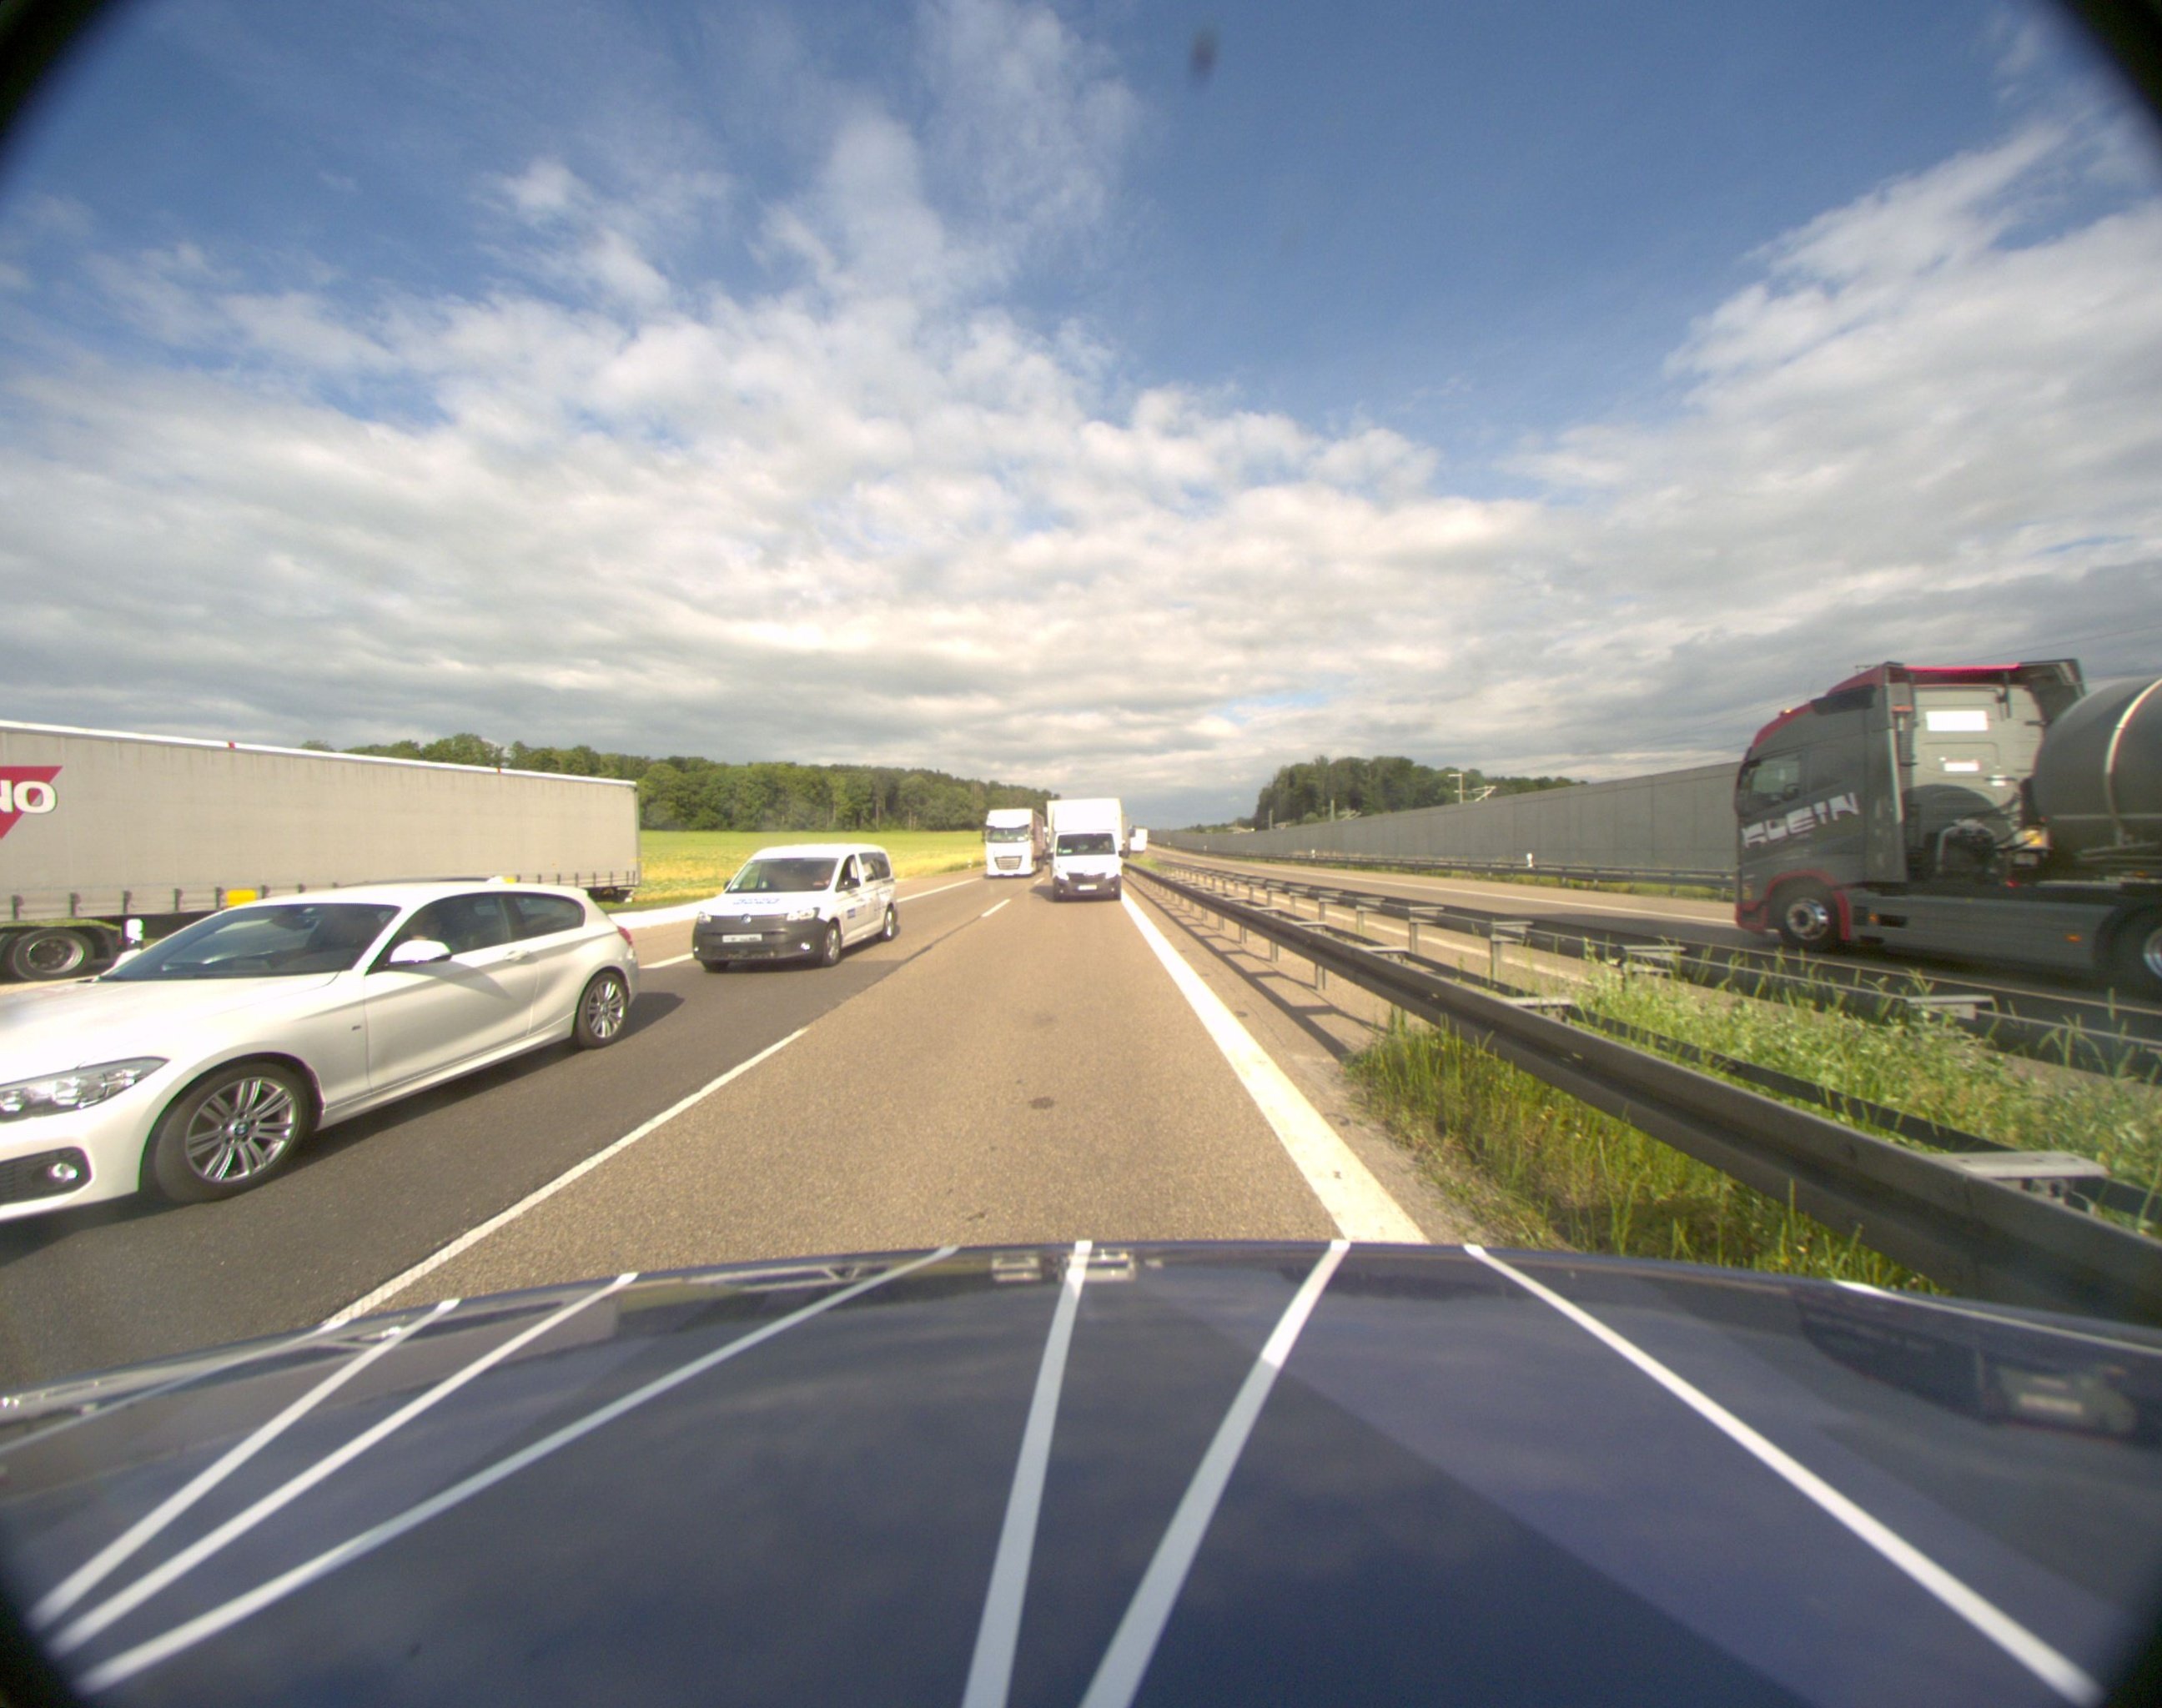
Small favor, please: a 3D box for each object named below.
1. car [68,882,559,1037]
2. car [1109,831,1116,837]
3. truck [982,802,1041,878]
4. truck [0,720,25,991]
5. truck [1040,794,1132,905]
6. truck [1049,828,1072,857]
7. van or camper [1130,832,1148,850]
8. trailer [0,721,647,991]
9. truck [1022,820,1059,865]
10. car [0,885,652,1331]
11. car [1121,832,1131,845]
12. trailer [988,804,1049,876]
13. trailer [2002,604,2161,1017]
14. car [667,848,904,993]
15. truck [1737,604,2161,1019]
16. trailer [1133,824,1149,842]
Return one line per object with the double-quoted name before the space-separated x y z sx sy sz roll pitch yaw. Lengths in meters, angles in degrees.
"car" -9.364 1.172 9.877 1.706 1.345 4.186 -2 1 11
"car" 9.394 -5.886 223.780 1.656 1.443 3.954 -1 1 -3
"truck" -4.004 -0.832 45.053 2.736 4.150 5.766 -2 1 1
"truck" -18.464 0.101 9.854 2.717 4.149 4.765 -2 1 15
"truck" 0.191 -0.181 27.576 2.500 3.082 12.037 -2 1 0
"truck" -3.108 -1.788 118.033 2.946 4.094 16.206 -1 1 0
"van or camper" 9.284 -2.063 122.569 2.258 2.688 7.169 -1 1 0
"trailer" -16.517 -0.006 16.867 2.739 4.136 13.843 -2 0 16
"truck" -3.906 -1.106 76.990 2.946 4.094 12.523 -1 1 0
"car" -4.801 1.040 4.781 1.708 1.424 4.231 -2 1 1
"car" 10.640 -3.694 179.263 2.109 2.854 5.635 -1 1 0
"trailer" -3.965 -0.967 51.502 2.742 4.137 14.015 -2 1 0
"trailer" 11.415 -0.373 2.915 2.594 3.879 10.863 0 1 0
"car" -4.278 0.828 11.948 1.729 1.746 4.702 -3 1 1
"truck" 11.473 -0.420 8.924 2.589 3.900 5.721 0 1 1
"trailer" 14.264 -4.930 181.867 2.797 4.054 13.518 0 1 0
